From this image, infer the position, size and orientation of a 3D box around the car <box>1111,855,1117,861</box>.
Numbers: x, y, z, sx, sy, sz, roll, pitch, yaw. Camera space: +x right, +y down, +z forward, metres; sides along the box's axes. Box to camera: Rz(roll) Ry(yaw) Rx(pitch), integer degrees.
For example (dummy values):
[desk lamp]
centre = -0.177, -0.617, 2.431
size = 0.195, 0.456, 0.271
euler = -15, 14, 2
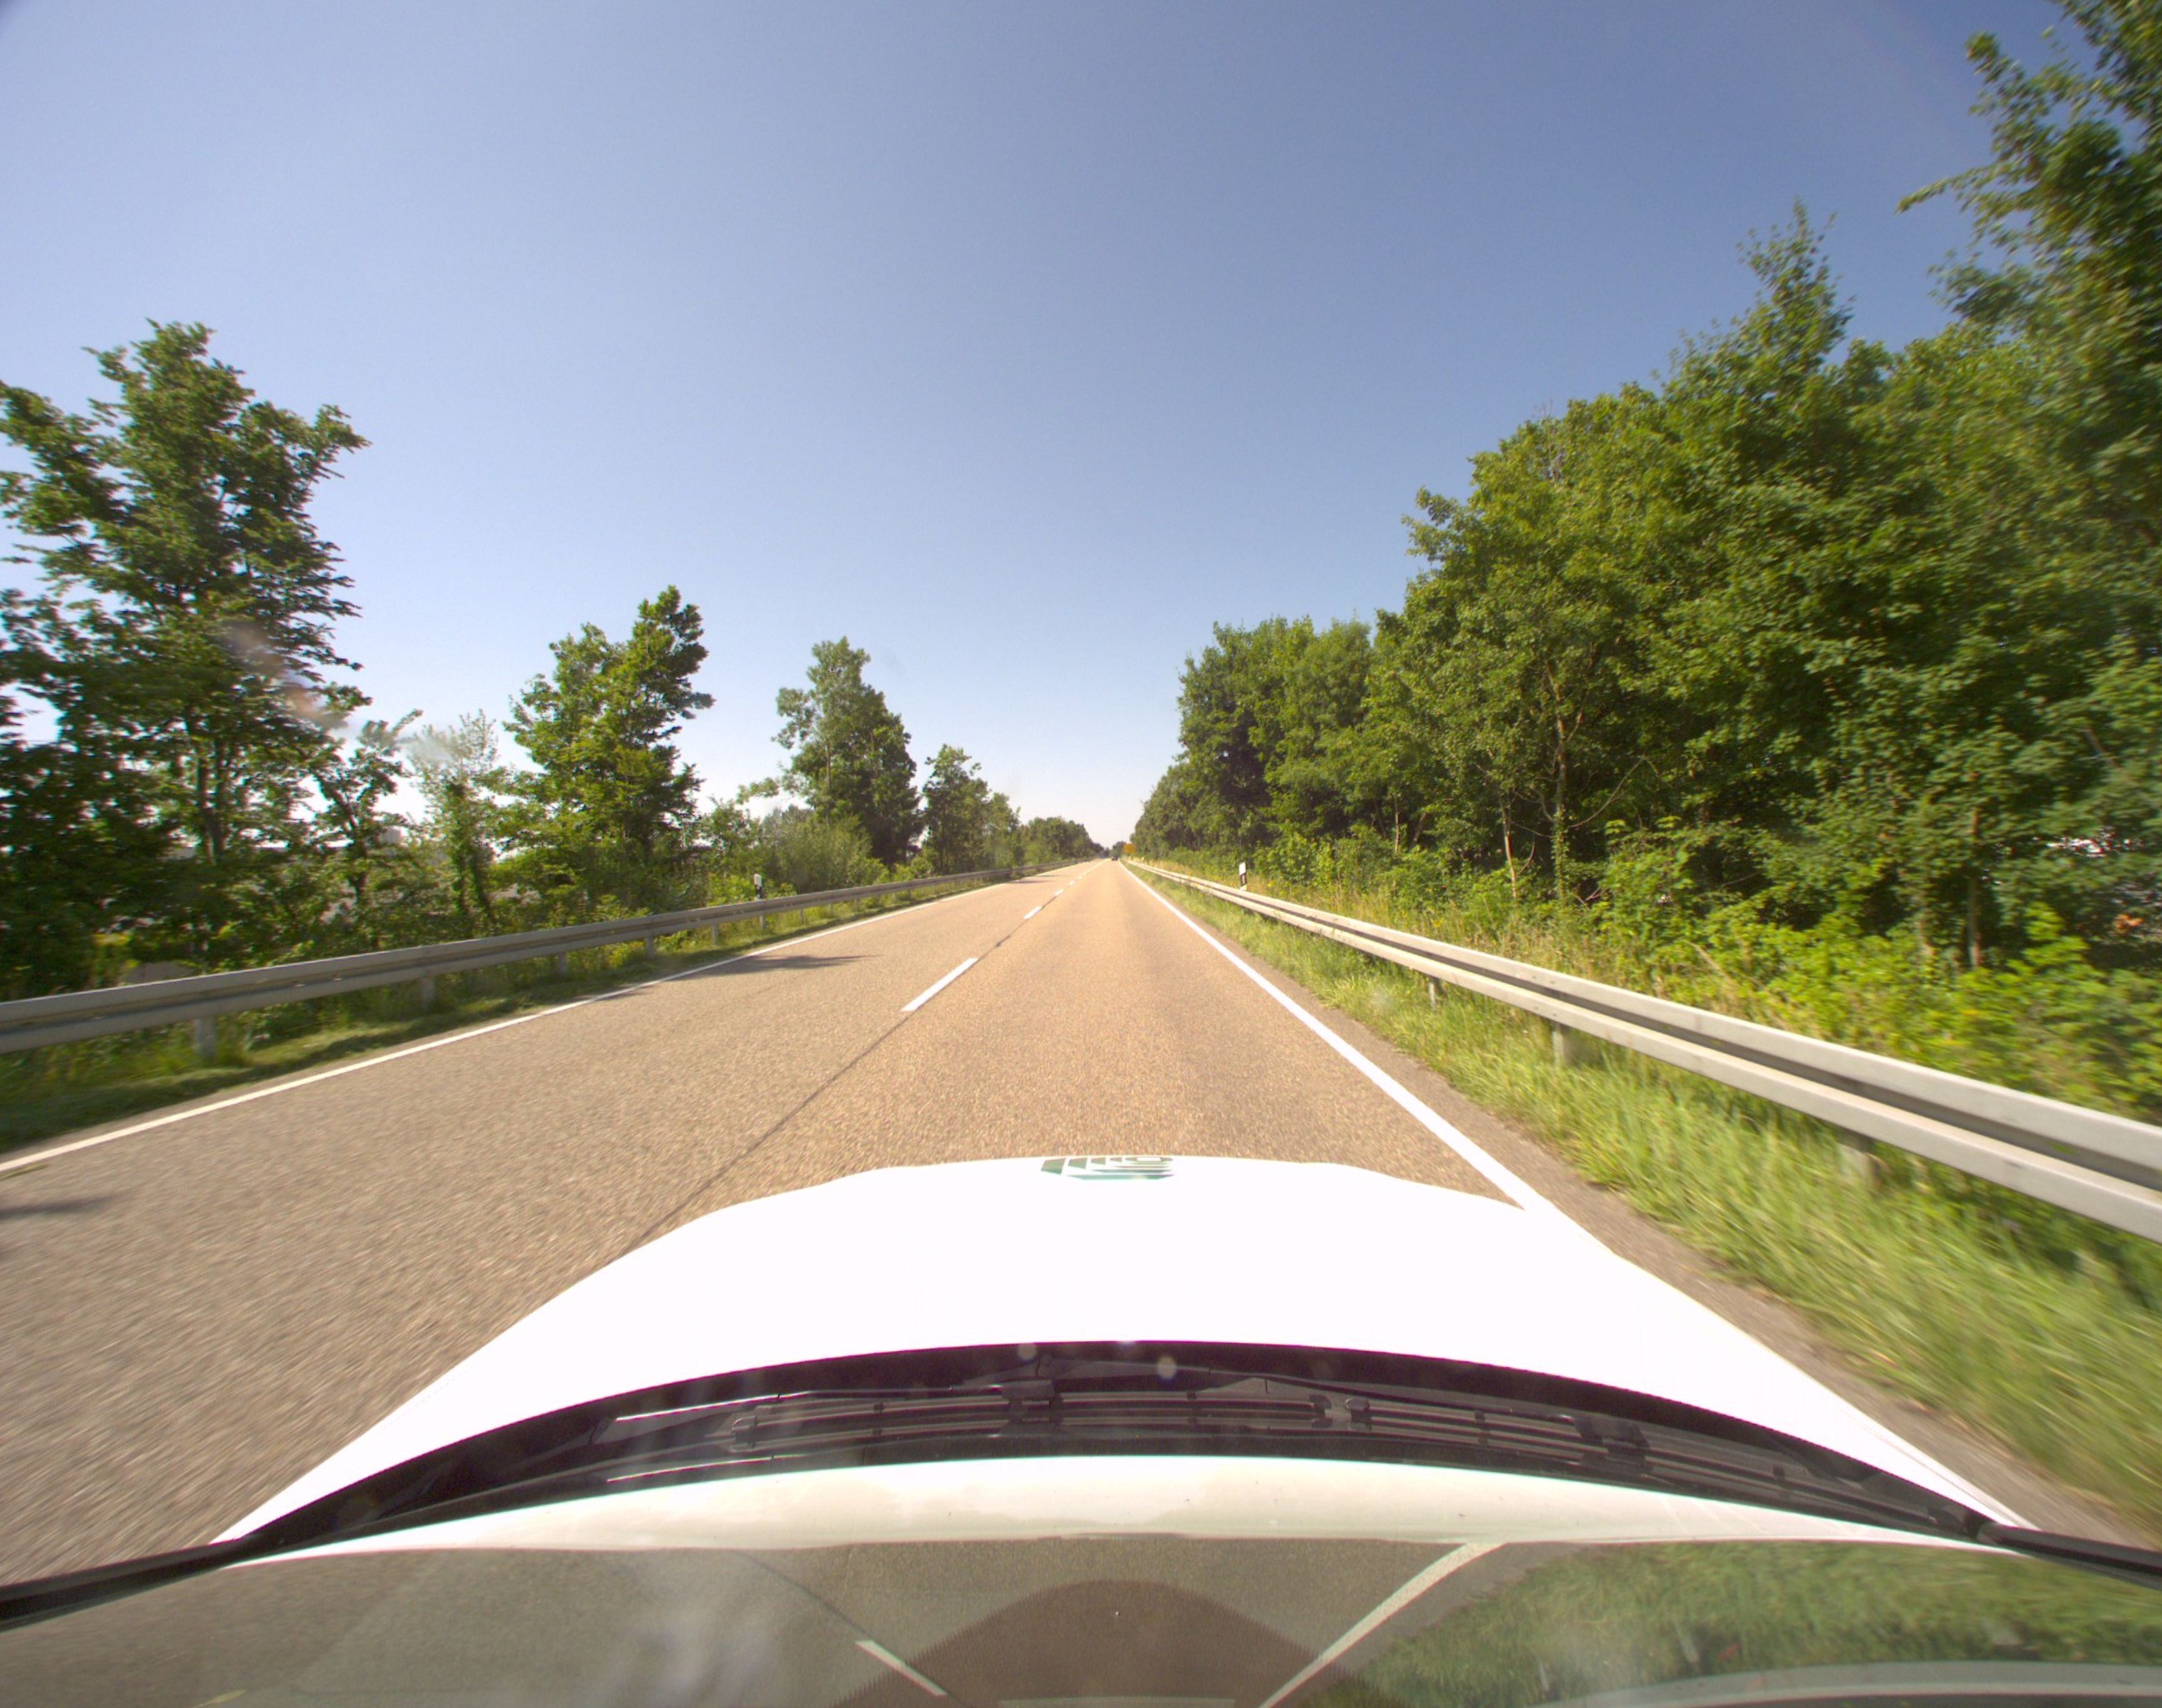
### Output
[car]
centre = 9.063, 1.142, 224.067
size = 1.734, 1.470, 3.696
euler = -1, 0, 3
